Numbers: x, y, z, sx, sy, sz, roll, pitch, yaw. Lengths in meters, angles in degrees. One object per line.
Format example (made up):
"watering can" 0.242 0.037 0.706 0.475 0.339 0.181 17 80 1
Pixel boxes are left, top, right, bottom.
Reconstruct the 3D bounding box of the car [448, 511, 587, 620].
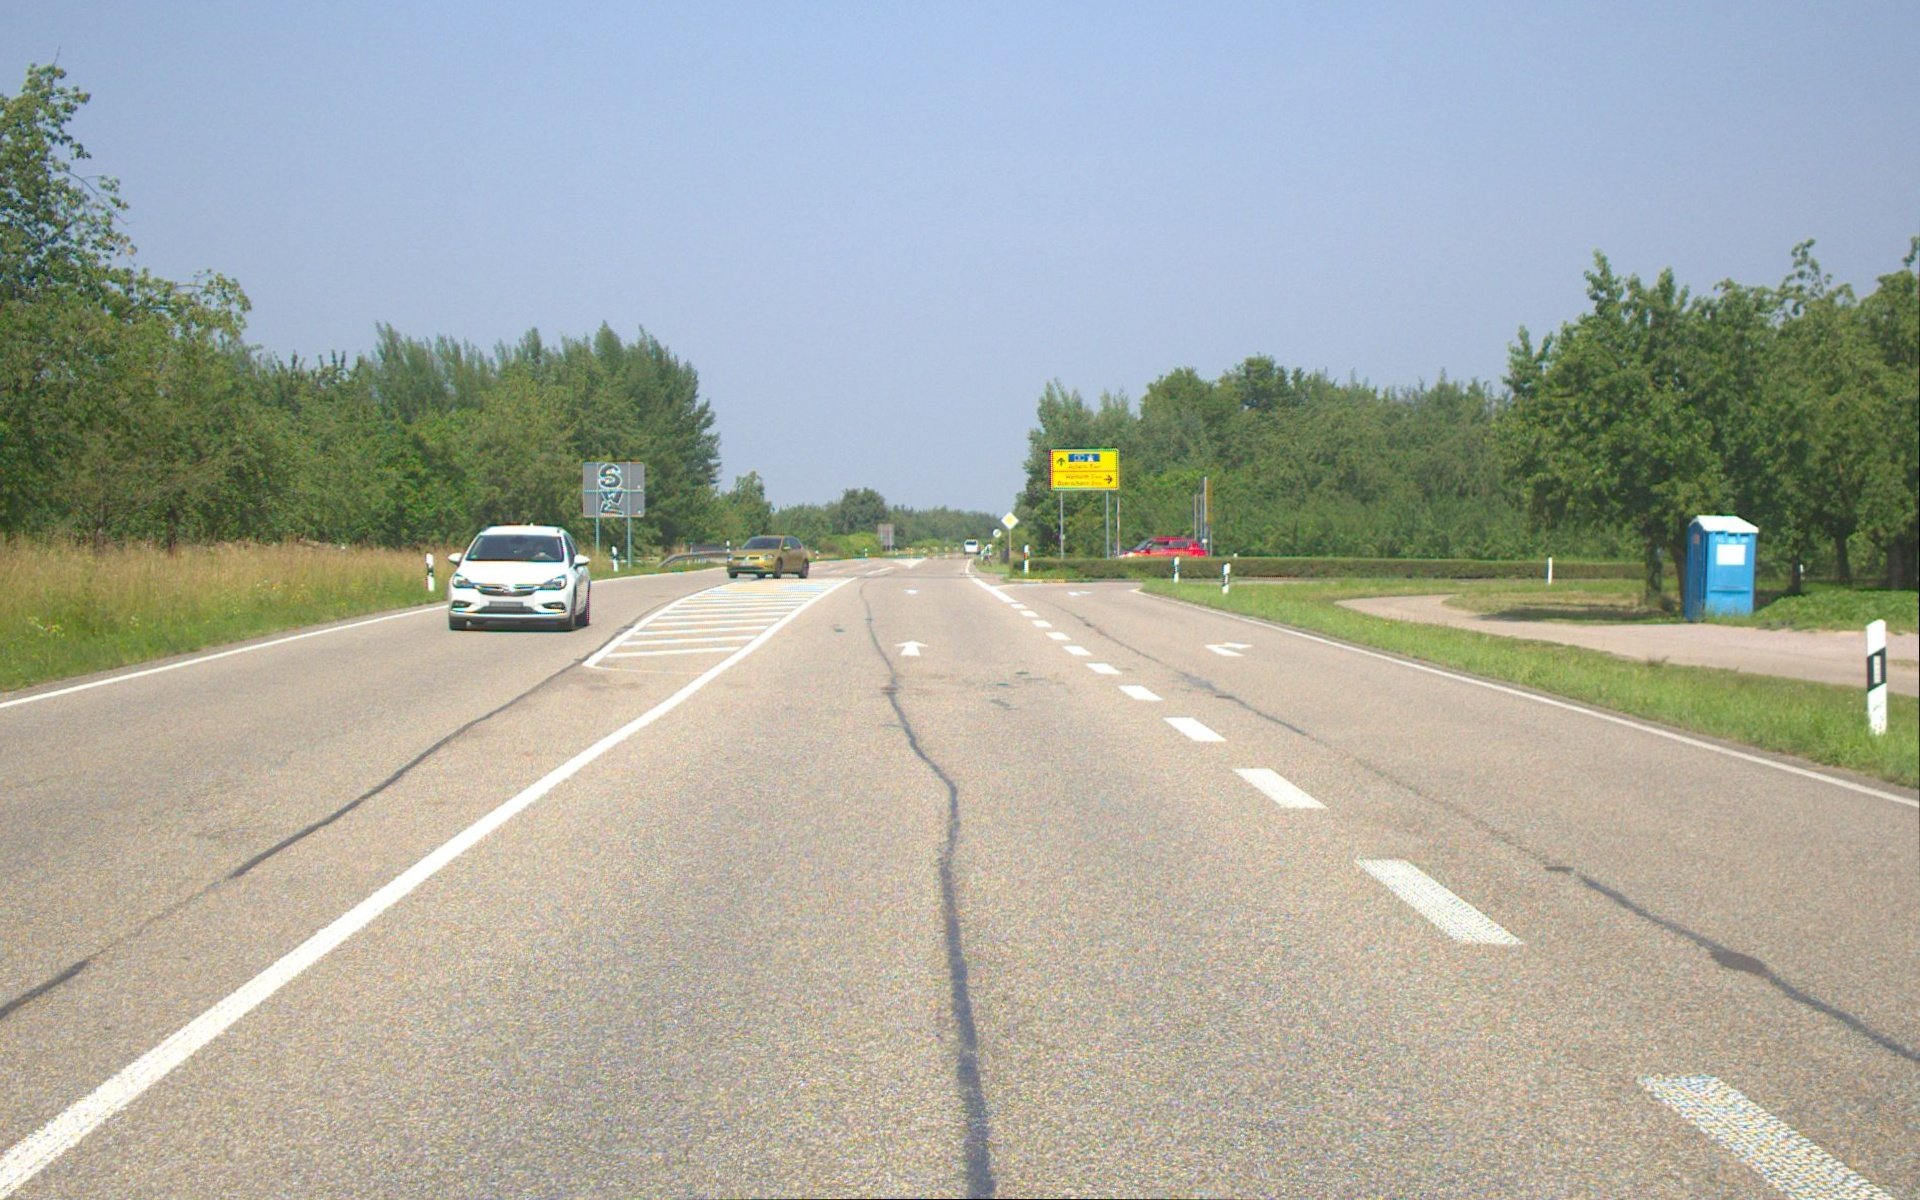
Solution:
"car" -6.381 -0.527 49.892 1.674 1.489 4.138 1 1 -3

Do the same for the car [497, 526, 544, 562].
"car" -17.711 -2.247 138.712 1.704 1.418 4.044 0 1 -5

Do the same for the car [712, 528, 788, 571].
"car" -7.050 -1.704 115.923 1.698 1.411 3.824 0 1 10
